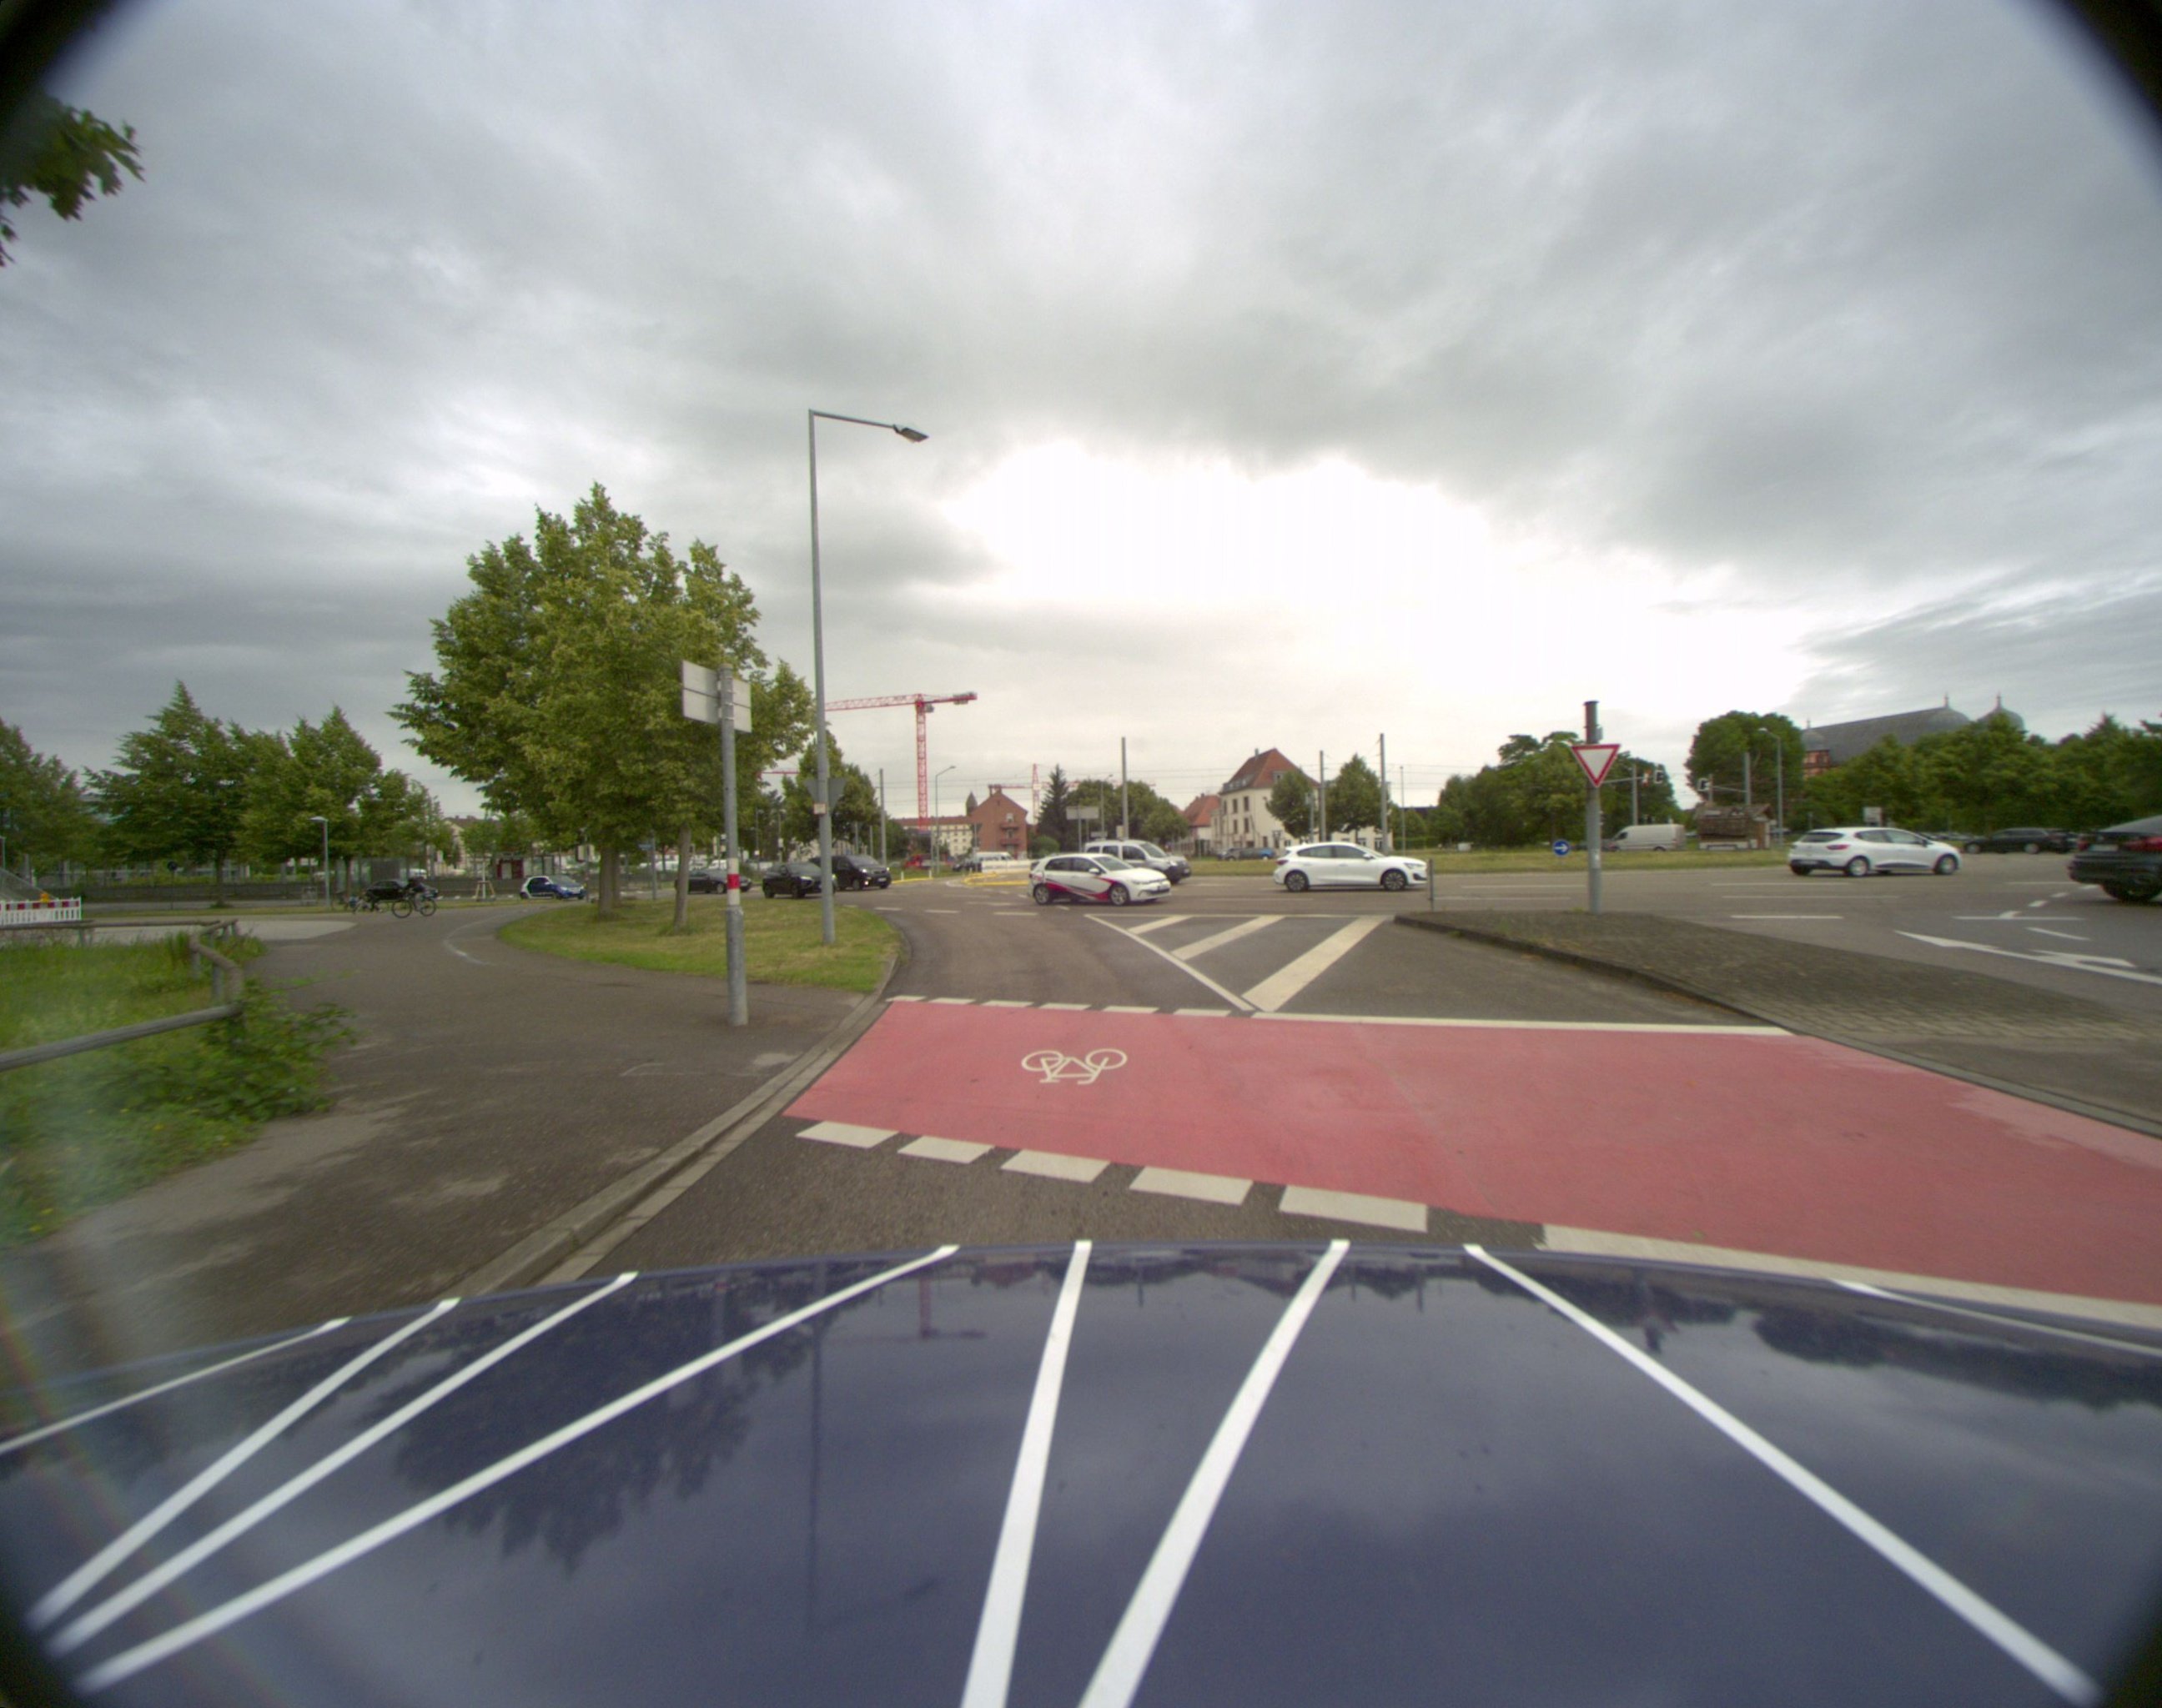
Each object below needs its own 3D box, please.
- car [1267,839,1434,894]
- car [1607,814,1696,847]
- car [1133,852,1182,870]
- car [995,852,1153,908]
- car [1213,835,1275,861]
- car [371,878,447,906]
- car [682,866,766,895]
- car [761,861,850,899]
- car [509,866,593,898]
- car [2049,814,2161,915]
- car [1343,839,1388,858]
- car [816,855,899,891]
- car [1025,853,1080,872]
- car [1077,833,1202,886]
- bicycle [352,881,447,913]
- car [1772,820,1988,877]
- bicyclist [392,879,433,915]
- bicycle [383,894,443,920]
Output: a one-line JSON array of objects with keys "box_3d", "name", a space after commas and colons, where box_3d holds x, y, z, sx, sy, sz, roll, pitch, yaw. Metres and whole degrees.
[{"box_3d": [8.032, 0.380, 22.720, 4.464, 1.449, 1.925, -2, 1, 26], "name": "car"}, {"box_3d": [48.333, -1.933, 64.542, 2.244, 2.527, 5.597, -2, 1, -27], "name": "car"}, {"box_3d": [6.891, 0.600, 68.626, 4.004, 1.479, 1.810, -2, 1, -21], "name": "car"}, {"box_3d": [-0.278, 0.750, 22.412, 4.420, 1.449, 1.836, -2, 1, 38], "name": "car"}, {"box_3d": [15.393, -0.570, 71.885, 5.338, 2.229, 2.175, -2, 1, 1], "name": "car"}, {"box_3d": [-45.489, 2.581, 51.460, 3.993, 1.717, 1.863, -2, 0, 14], "name": "car"}, {"box_3d": [-20.820, 1.540, 44.361, 4.349, 1.608, 2.003, -2, 0, 23], "name": "car"}, {"box_3d": [-12.560, 1.166, 34.505, 4.463, 1.557, 1.925, -2, 1, 44], "name": "car"}, {"box_3d": [-31.320, 1.654, 44.904, 3.993, 1.717, 1.863, -2, 0, 14], "name": "car"}, {"box_3d": [20.327, 0.095, 12.731, 4.741, 1.658, 1.924, -2, 1, 22], "name": "car"}, {"box_3d": [28.061, -0.521, 74.953, 3.990, 1.674, 1.816, -2, 1, 25], "name": "car"}, {"box_3d": [-11.502, 0.983, 39.039, 4.002, 1.705, 1.933, -2, 1, 35], "name": "car"}, {"box_3d": [-2.335, 0.704, 63.420, 4.351, 1.462, 1.994, -2, 1, -45], "name": "car"}, {"box_3d": [2.298, 0.226, 30.022, 4.474, 1.893, 1.925, -2, 1, 29], "name": "car"}, {"box_3d": [-30.339, 1.895, 33.935, 1.015, 1.280, 3.075, -1, 0, 15], "name": "bicycle"}, {"box_3d": [23.657, -0.167, 22.611, 4.473, 1.446, 1.921, -2, 1, -1], "name": "car"}, {"box_3d": [-25.398, 1.623, 28.884, 0.619, 1.328, 1.052, -1, 0, -4], "name": "bicyclist"}, {"box_3d": [-25.389, 2.006, 28.908, 0.622, 0.870, 1.987, 0, 0, -4], "name": "bicycle"}]
